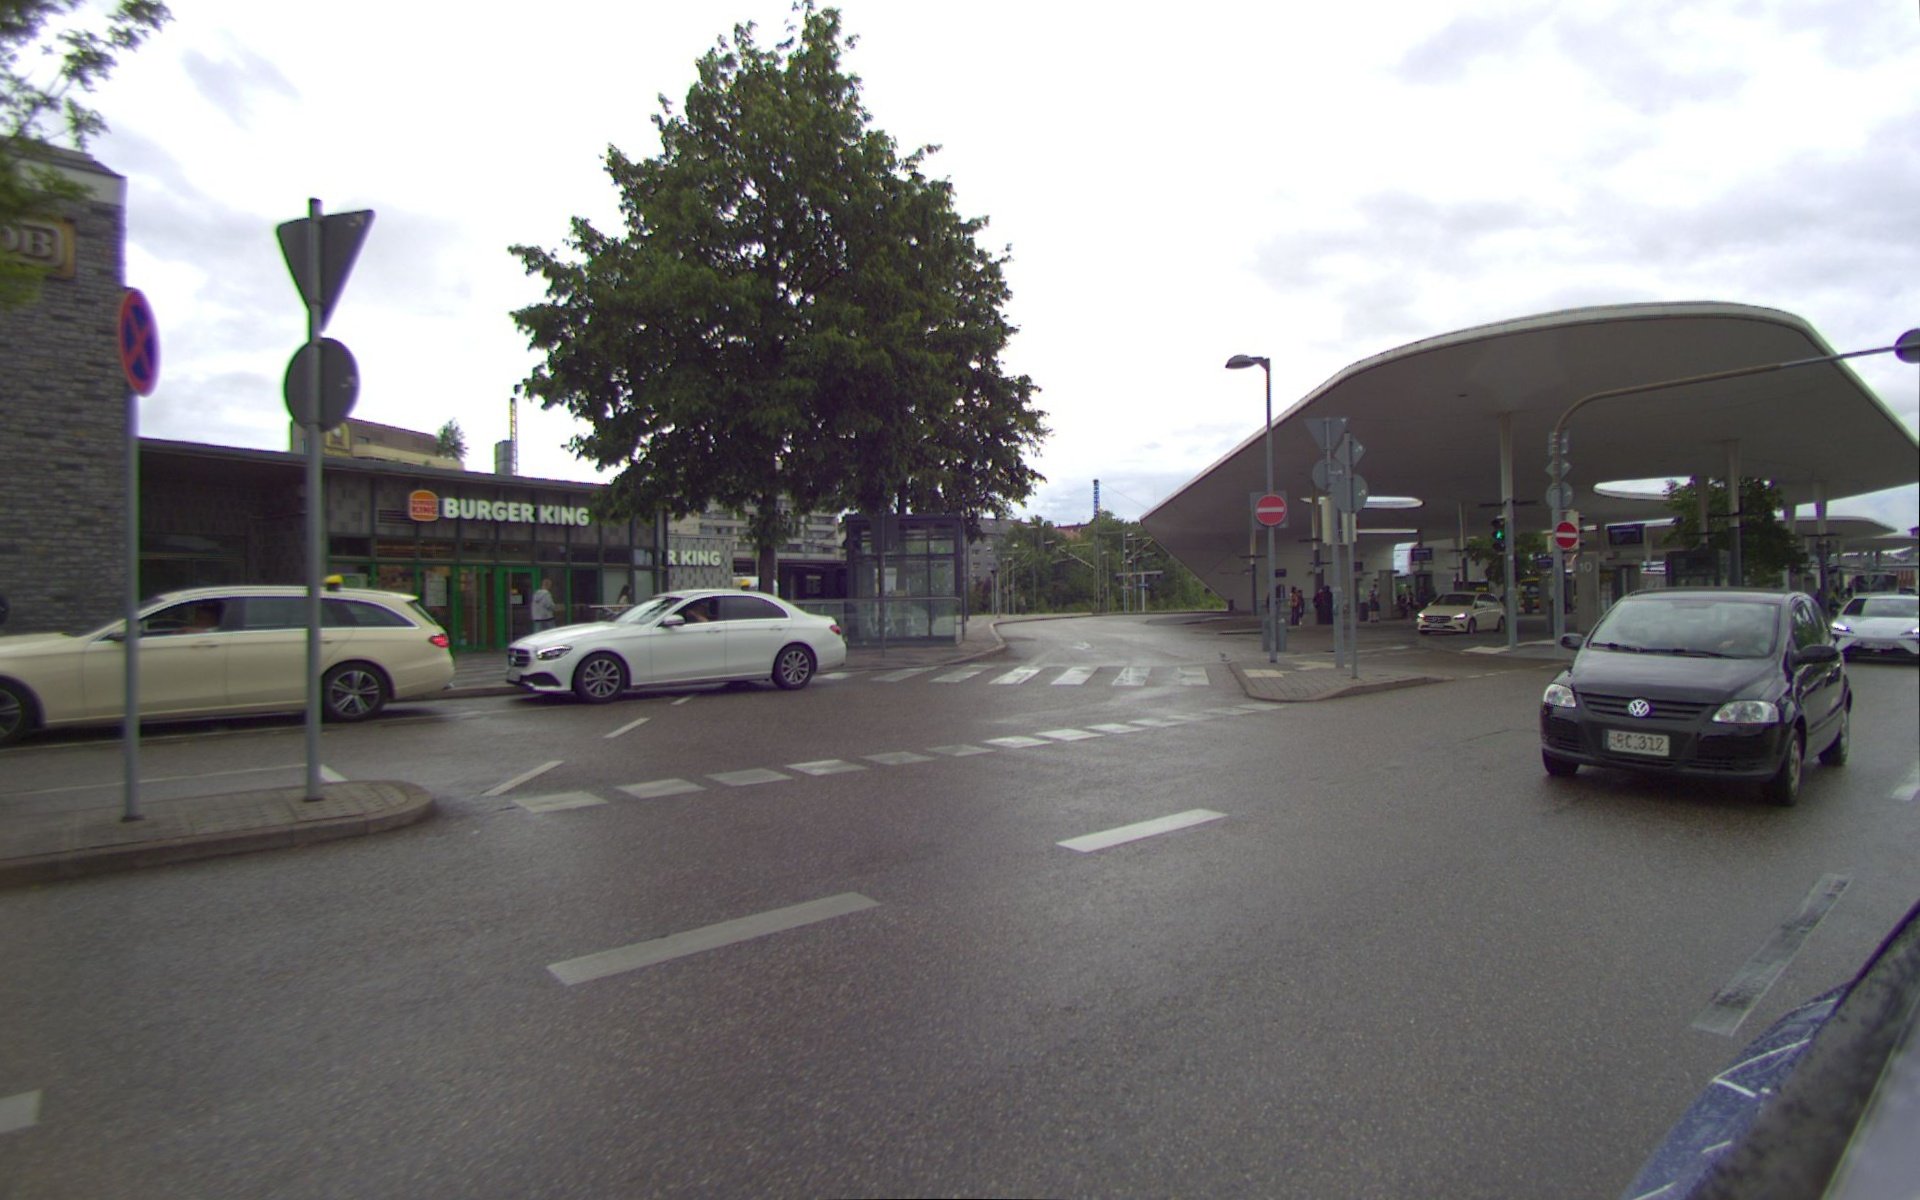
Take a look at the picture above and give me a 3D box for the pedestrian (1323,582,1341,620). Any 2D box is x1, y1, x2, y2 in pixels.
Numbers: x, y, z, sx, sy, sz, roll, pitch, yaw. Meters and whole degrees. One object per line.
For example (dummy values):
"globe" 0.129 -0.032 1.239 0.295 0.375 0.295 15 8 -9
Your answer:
"pedestrian" 15.501 0.034 42.175 0.470 1.533 0.535 0 0 -36

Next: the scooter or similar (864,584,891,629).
"scooter or similar" -2.329 0.169 28.558 0.329 1.197 1.298 1 2 15

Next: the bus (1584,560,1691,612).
"bus" 44.107 -1.044 65.648 11.717 3.120 2.874 -2 2 -41

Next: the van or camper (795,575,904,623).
"van or camper" -5.913 -0.131 54.498 5.763 2.463 1.997 -1 2 -41

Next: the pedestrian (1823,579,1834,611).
"pedestrian" 48.051 -0.289 55.994 0.444 1.786 0.529 0 0 42

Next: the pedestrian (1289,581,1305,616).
"pedestrian" 14.960 -0.058 44.920 0.469 1.533 0.536 0 0 -7

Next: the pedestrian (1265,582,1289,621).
"pedestrian" 13.551 0.051 43.291 0.726 1.615 0.643 0 1 -27

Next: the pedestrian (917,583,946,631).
"pedestrian" -1.037 0.231 36.503 0.782 1.688 0.723 0 1 -31

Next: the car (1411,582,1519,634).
"car" 18.377 0.235 36.754 4.463 1.702 1.997 -1 2 -41

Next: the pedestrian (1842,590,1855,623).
"pedestrian" 48.692 0.352 55.450 0.442 1.786 0.532 0 0 30

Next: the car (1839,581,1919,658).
"car" 21.089 0.380 22.883 1.805 1.578 3.990 2 2 41

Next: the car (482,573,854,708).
"car" -4.038 0.430 14.552 4.818 1.619 1.883 -1 2 -41

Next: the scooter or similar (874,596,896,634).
"scooter or similar" -2.461 0.489 33.296 0.329 1.197 1.298 1 2 15

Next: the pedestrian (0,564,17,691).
"pedestrian" -13.195 0.368 13.479 0.640 1.688 0.770 1 0 27

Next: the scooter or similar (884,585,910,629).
"scooter or similar" -1.763 0.186 28.378 0.329 1.197 1.298 1 2 15

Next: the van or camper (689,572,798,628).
"van or camper" -10.287 -0.083 47.792 5.844 2.463 2.132 2 2 43

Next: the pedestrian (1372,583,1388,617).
"pedestrian" 19.028 -0.006 45.849 0.525 1.533 0.479 0 0 -37

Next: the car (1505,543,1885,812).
"car" 6.355 0.422 8.571 4.088 1.723 1.873 -2 3 -43

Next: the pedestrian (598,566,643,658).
"pedestrian" -8.197 0.275 24.454 0.787 2.191 0.719 1 1 18

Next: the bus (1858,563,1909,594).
"bus" 98.922 -2.278 108.569 3.568 3.137 10.600 0 1 40

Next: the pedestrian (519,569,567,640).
"pedestrian" -9.564 0.085 23.227 0.765 1.599 0.703 1 1 31

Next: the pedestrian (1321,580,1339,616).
"pedestrian" 15.744 -0.093 43.087 0.470 1.533 0.535 0 0 -36

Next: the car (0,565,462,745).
"car" -8.227 0.464 10.824 4.872 1.619 1.997 -1 2 -41

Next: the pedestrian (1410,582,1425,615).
"pedestrian" 21.897 -0.073 48.456 0.525 1.533 0.479 0 0 -37
